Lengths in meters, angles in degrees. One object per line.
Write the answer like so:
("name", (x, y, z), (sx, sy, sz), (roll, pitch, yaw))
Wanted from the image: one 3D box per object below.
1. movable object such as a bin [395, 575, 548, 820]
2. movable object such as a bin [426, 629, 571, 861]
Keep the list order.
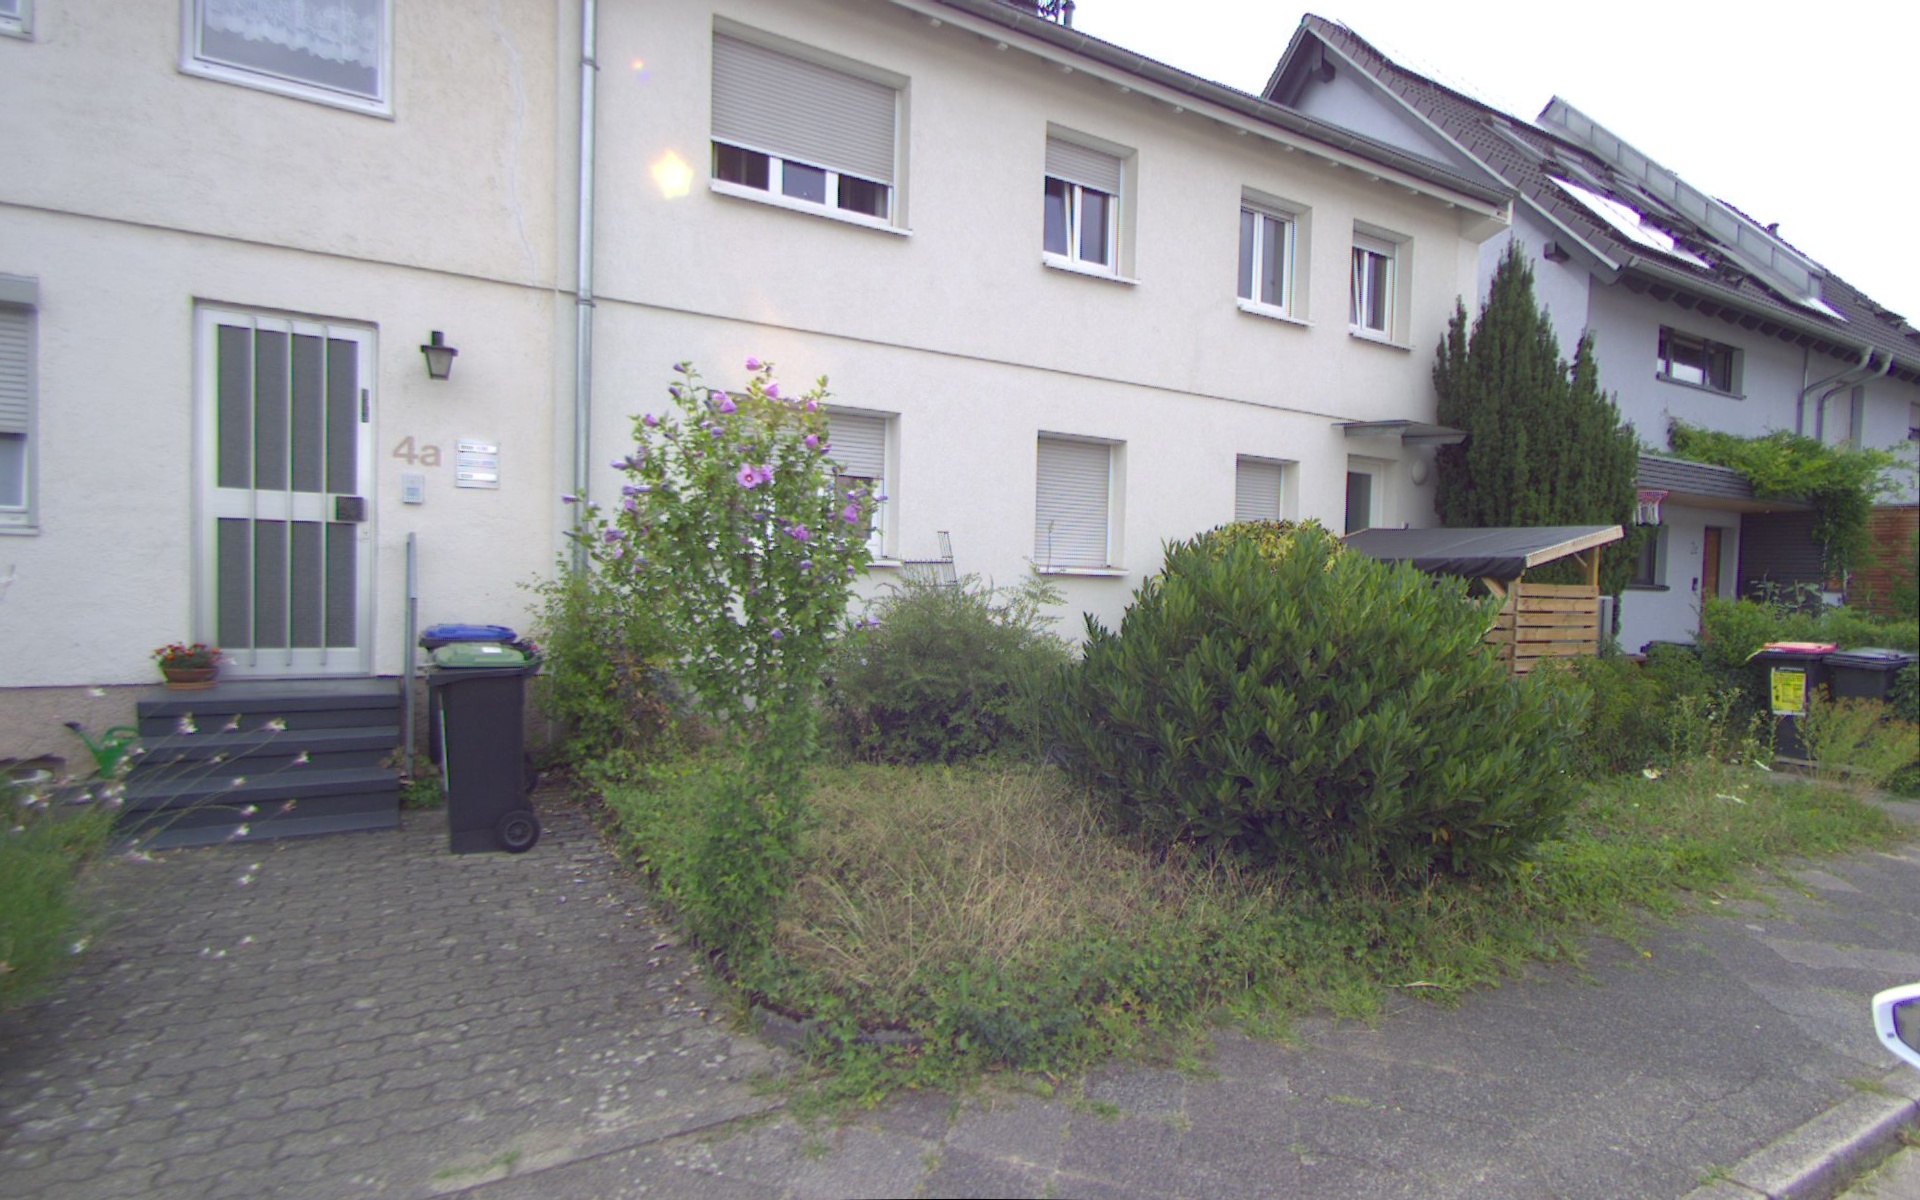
("movable object such as a bin", (-2.749, 0.498, 5.633), (0.726, 1.256, 0.693), (1, 1, -30))
("movable object such as a bin", (-2.297, 0.668, 4.976), (0.591, 1.021, 0.672), (1, 1, -30))
